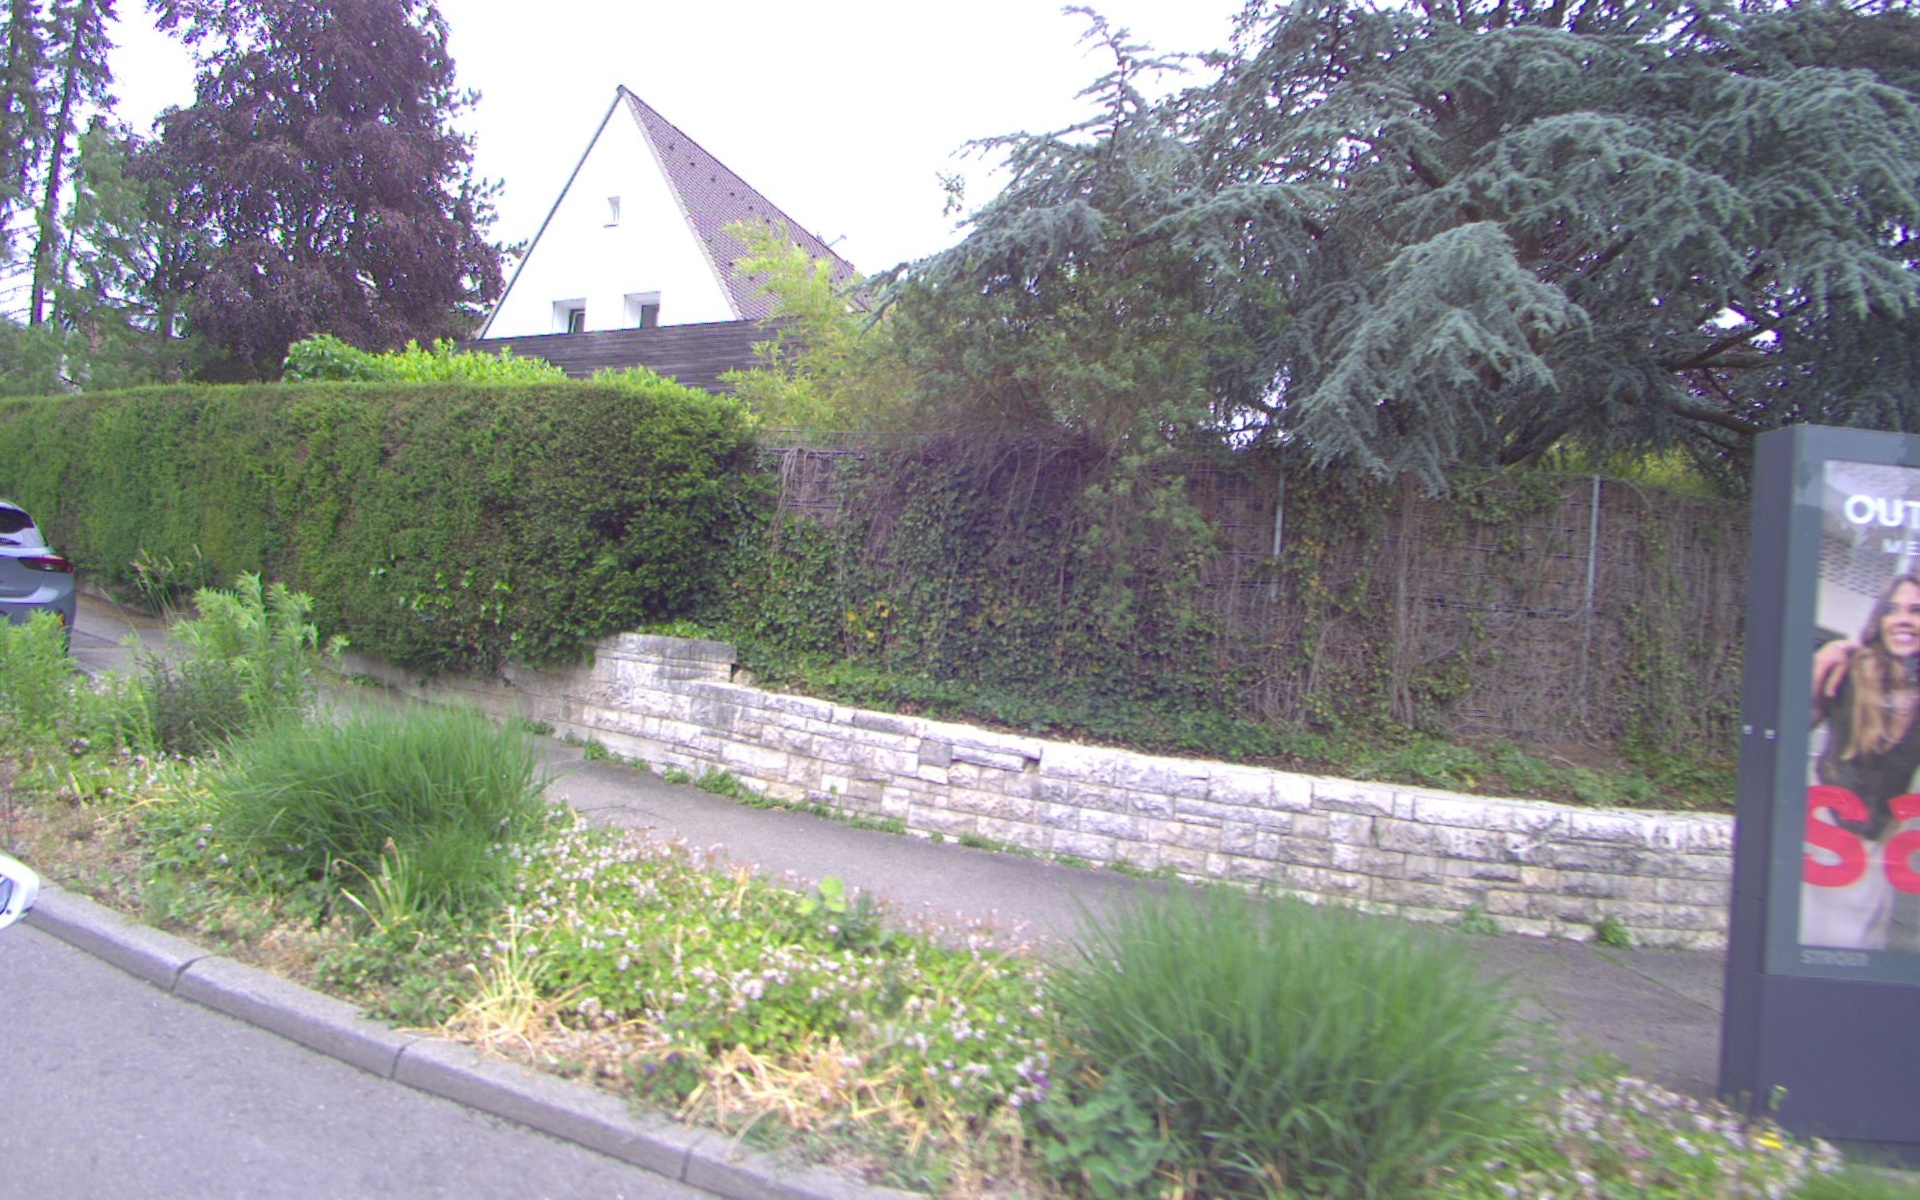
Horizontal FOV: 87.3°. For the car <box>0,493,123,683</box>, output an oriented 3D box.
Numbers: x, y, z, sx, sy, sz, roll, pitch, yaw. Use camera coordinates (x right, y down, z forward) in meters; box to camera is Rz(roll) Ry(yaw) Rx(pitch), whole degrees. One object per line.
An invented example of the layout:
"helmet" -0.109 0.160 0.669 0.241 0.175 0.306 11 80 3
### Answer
"car" -9.376 -0.326 8.858 3.934 1.481 1.858 7 -2 32
